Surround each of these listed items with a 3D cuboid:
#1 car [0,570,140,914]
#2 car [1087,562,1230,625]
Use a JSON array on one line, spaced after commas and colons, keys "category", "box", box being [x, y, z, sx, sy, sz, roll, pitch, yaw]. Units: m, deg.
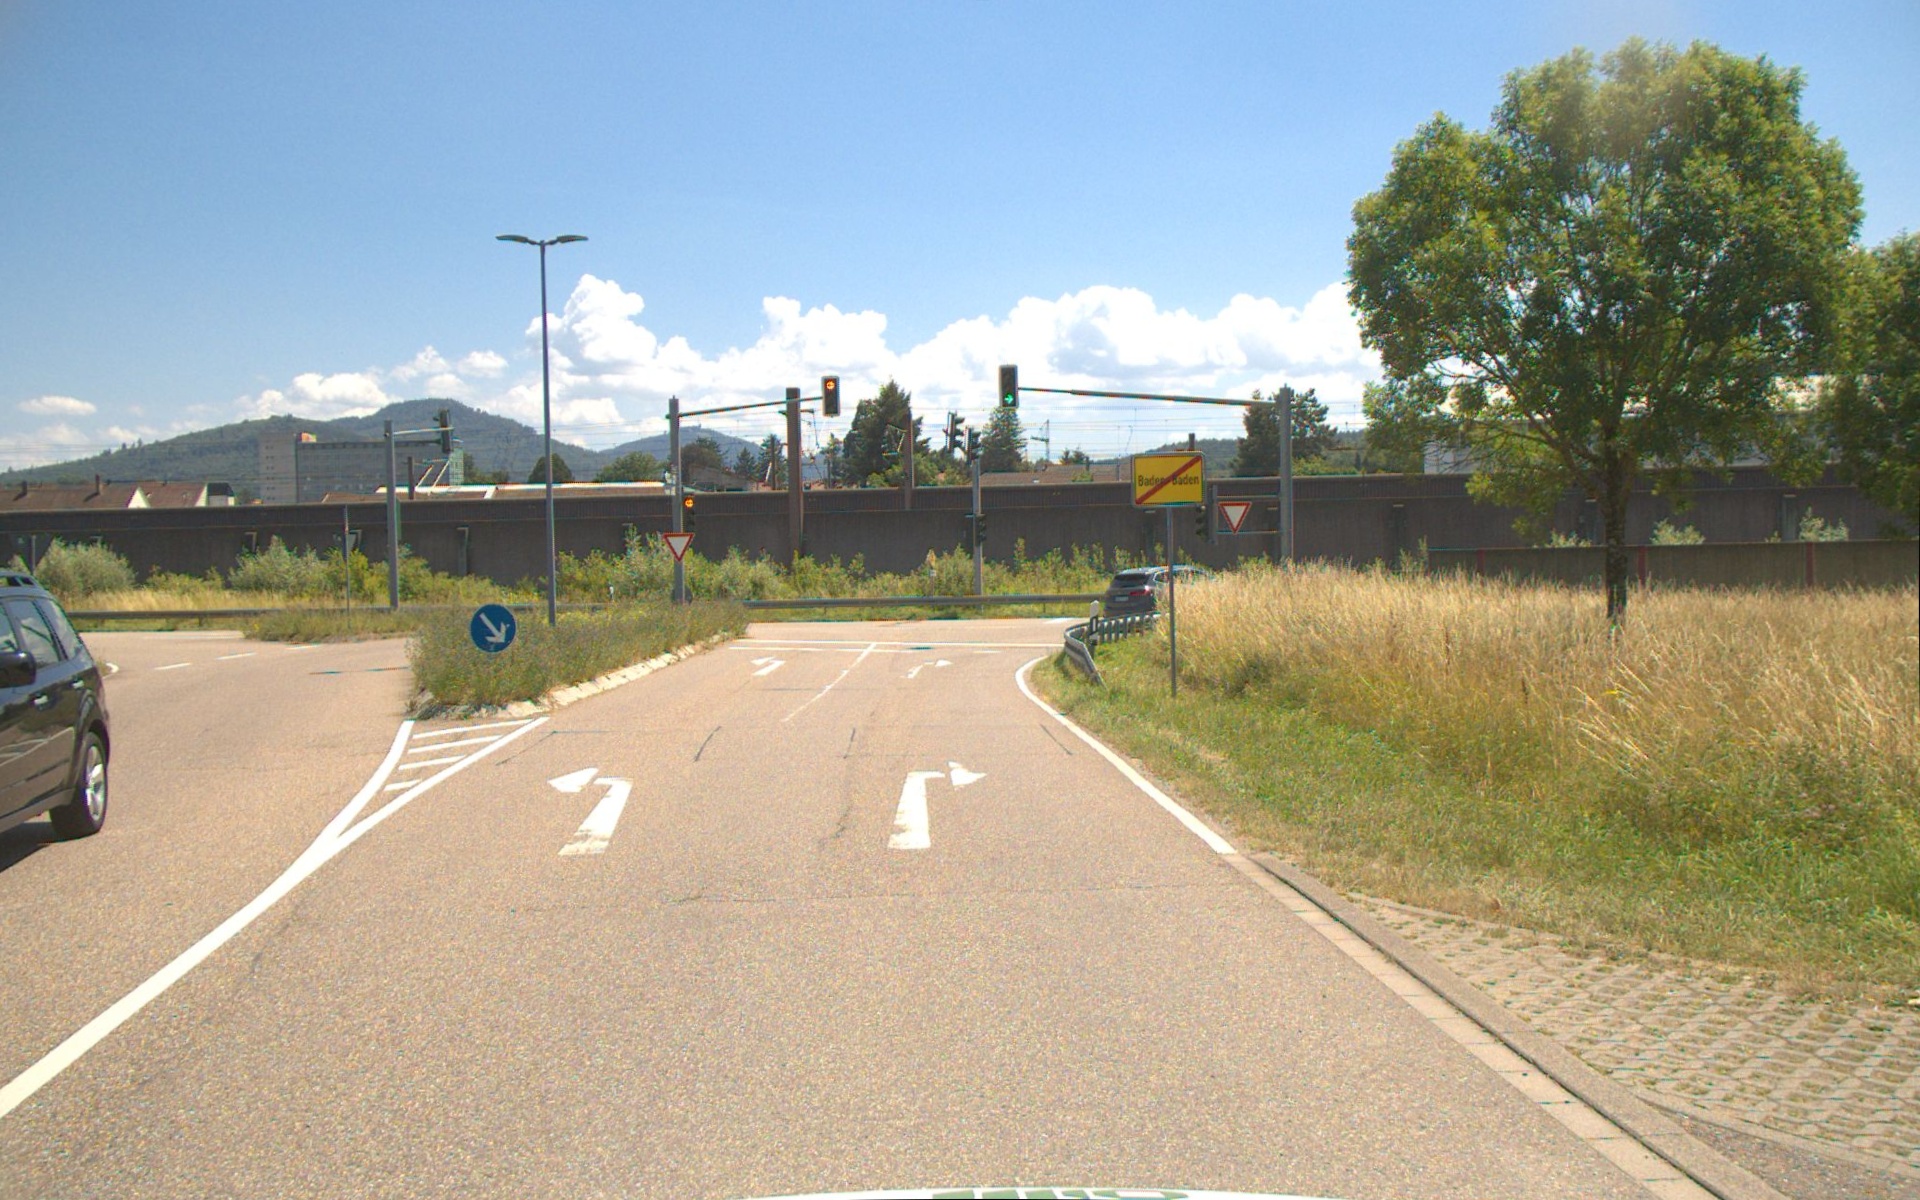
[{"category": "car", "box": [-6.013, 0.731, 9.052, 1.870, 1.732, 3.985, -2, 2, -14]}, {"category": "car", "box": [5.249, -0.216, 43.338, 1.962, 1.529, 3.982, 1, 2, 38]}]
